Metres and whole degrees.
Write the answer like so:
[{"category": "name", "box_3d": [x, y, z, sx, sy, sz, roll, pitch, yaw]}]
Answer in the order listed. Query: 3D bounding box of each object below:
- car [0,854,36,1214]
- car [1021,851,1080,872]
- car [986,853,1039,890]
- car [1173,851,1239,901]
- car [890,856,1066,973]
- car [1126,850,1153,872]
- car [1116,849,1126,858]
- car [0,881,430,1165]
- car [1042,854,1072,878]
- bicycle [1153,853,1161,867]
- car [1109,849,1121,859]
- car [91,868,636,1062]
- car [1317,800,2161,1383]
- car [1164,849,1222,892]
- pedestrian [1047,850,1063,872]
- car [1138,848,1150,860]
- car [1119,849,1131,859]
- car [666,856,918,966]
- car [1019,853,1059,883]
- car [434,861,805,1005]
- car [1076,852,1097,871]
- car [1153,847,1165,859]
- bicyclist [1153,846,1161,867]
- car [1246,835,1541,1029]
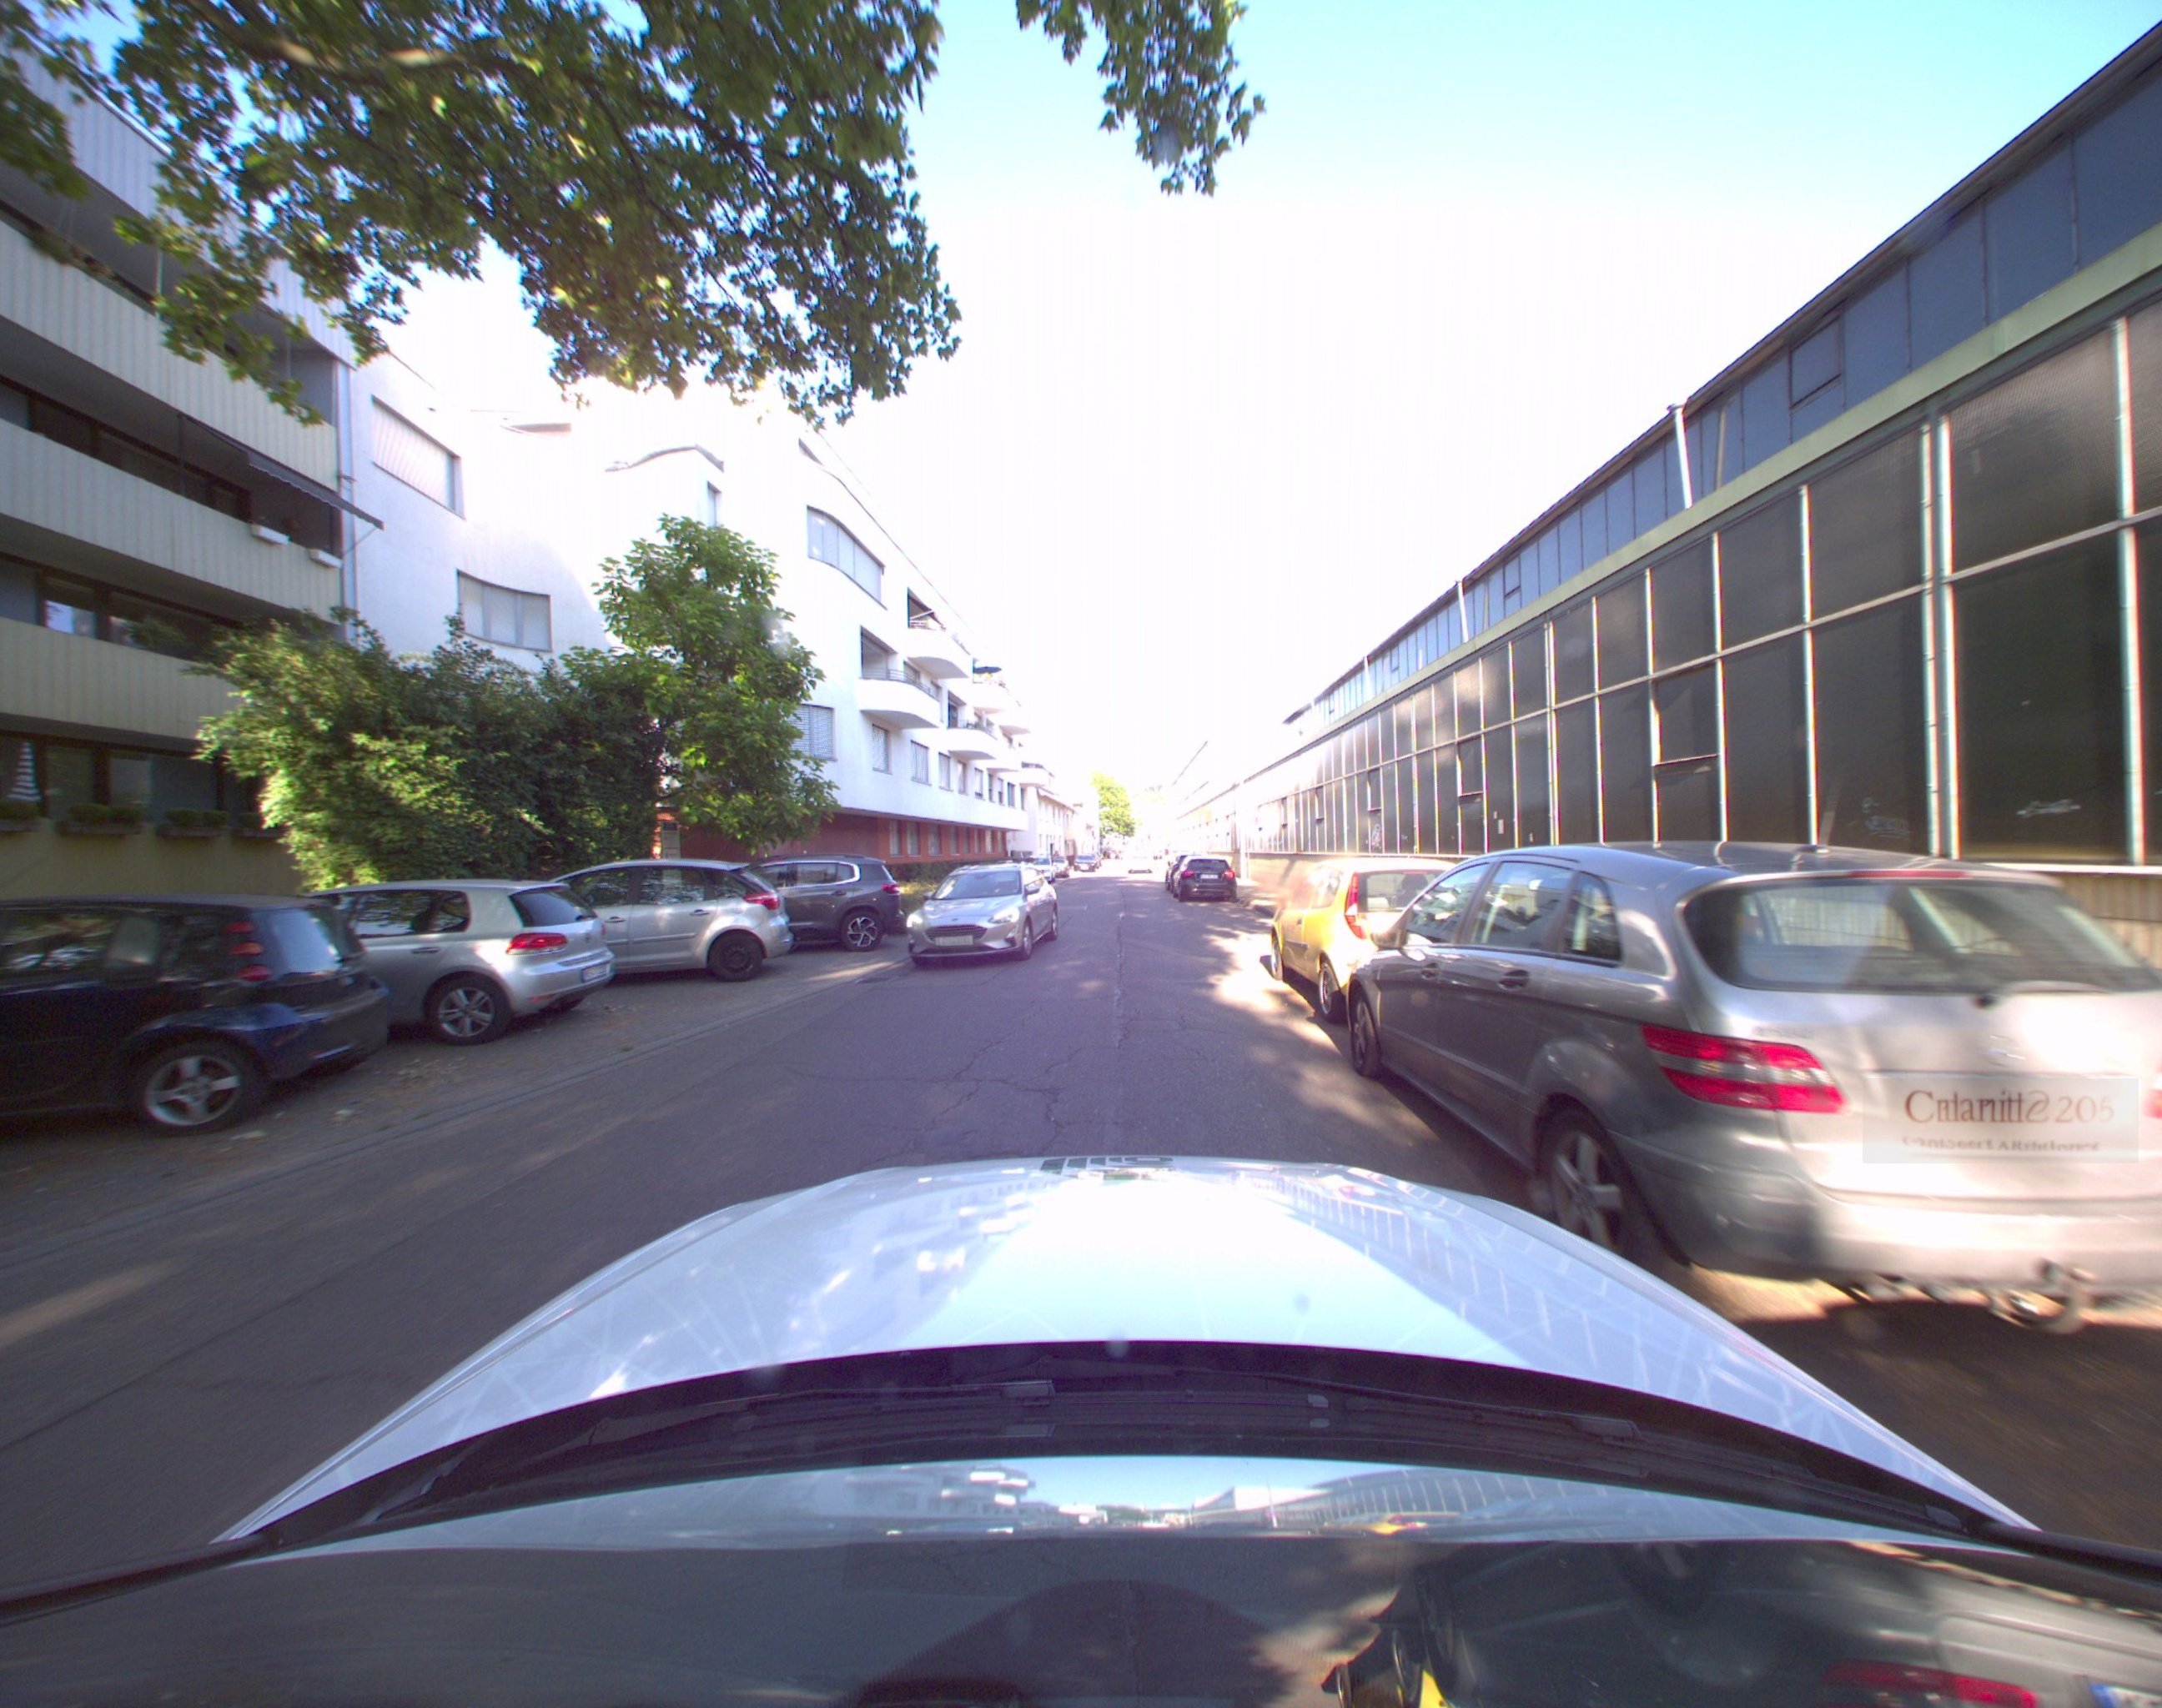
[{"category": "car", "box_3d": [-7.096, 0.905, 2.577, 4.270, 1.775, 1.893, -1, 0, -20]}, {"category": "car", "box_3d": [-2.248, 0.545, 61.375, 4.305, 1.535, 1.690, 0, 0, 1]}, {"category": "car", "box_3d": [-2.761, 0.691, 33.536, 1.668, 1.433, 3.773, 0, 0, 2]}, {"category": "car", "box_3d": [4.039, 0.676, 26.936, 1.743, 1.491, 4.625, 0, 0, 3]}, {"category": "car", "box_3d": [-1.513, 0.869, 13.902, 1.890, 1.536, 4.629, -4, 0, 6]}, {"category": "car", "box_3d": [4.183, 0.498, 58.902, 1.834, 1.491, 4.147, -1, 0, 3]}, {"category": "car", "box_3d": [7.840, -0.075, 159.679, 1.697, 1.575, 3.918, -1, 0, 4]}, {"category": "car", "box_3d": [-6.842, 1.019, 5.344, 3.653, 1.560, 1.687, -1, 0, -23]}, {"category": "car", "box_3d": [-1.595, 0.765, 54.506, 1.660, 1.536, 3.860, 0, 0, 3]}, {"category": "bicycle", "box_3d": [6.504, 0.517, 69.569, 0.695, 1.130, 2.406, -1, 0, 5]}, {"category": "car", "box_3d": [5.900, -0.018, 141.092, 1.844, 1.791, 4.615, -1, 0, 6]}, {"category": "car", "box_3d": [-6.665, 0.956, 7.989, 3.636, 1.560, 1.695, -1, 0, -9]}, {"category": "car", "box_3d": [2.697, 0.682, 4.462, 1.743, 1.635, 4.312, -1, 0, 3]}, {"category": "car", "box_3d": [4.319, 0.609, 32.078, 1.800, 1.587, 4.407, 0, 0, 2]}, {"category": "pedestrian", "box_3d": [-2.223, 0.569, 68.900, 0.853, 1.818, 1.139, 2, 1, 27]}, {"category": "car", "box_3d": [9.974, -0.014, 129.183, 1.846, 1.791, 4.610, -1, 0, 2]}, {"category": "car", "box_3d": [7.221, -0.014, 132.362, 1.834, 1.491, 4.148, -1, 0, 3]}, {"category": "car", "box_3d": [-5.027, 0.900, 14.334, 3.966, 1.662, 1.686, -1, 0, -25]}, {"category": "car", "box_3d": [-2.270, 0.752, 45.098, 1.851, 1.587, 4.622, 0, 0, 1]}, {"category": "car", "box_3d": [-6.009, 0.946, 11.196, 4.141, 1.640, 1.764, -1, 0, -21]}, {"category": "car", "box_3d": [0.477, 0.639, 67.572, 1.679, 1.535, 4.334, 0, 0, 0]}, {"category": "car", "box_3d": [11.758, -0.146, 123.496, 1.622, 1.587, 4.073, -4, 0, 4]}, {"category": "bicyclist", "box_3d": [6.504, 0.212, 69.551, 0.695, 1.790, 1.042, -1, -1, 5]}, {"category": "car", "box_3d": [3.070, 0.673, 8.949, 1.744, 1.635, 4.002, -1, 0, 1]}]
